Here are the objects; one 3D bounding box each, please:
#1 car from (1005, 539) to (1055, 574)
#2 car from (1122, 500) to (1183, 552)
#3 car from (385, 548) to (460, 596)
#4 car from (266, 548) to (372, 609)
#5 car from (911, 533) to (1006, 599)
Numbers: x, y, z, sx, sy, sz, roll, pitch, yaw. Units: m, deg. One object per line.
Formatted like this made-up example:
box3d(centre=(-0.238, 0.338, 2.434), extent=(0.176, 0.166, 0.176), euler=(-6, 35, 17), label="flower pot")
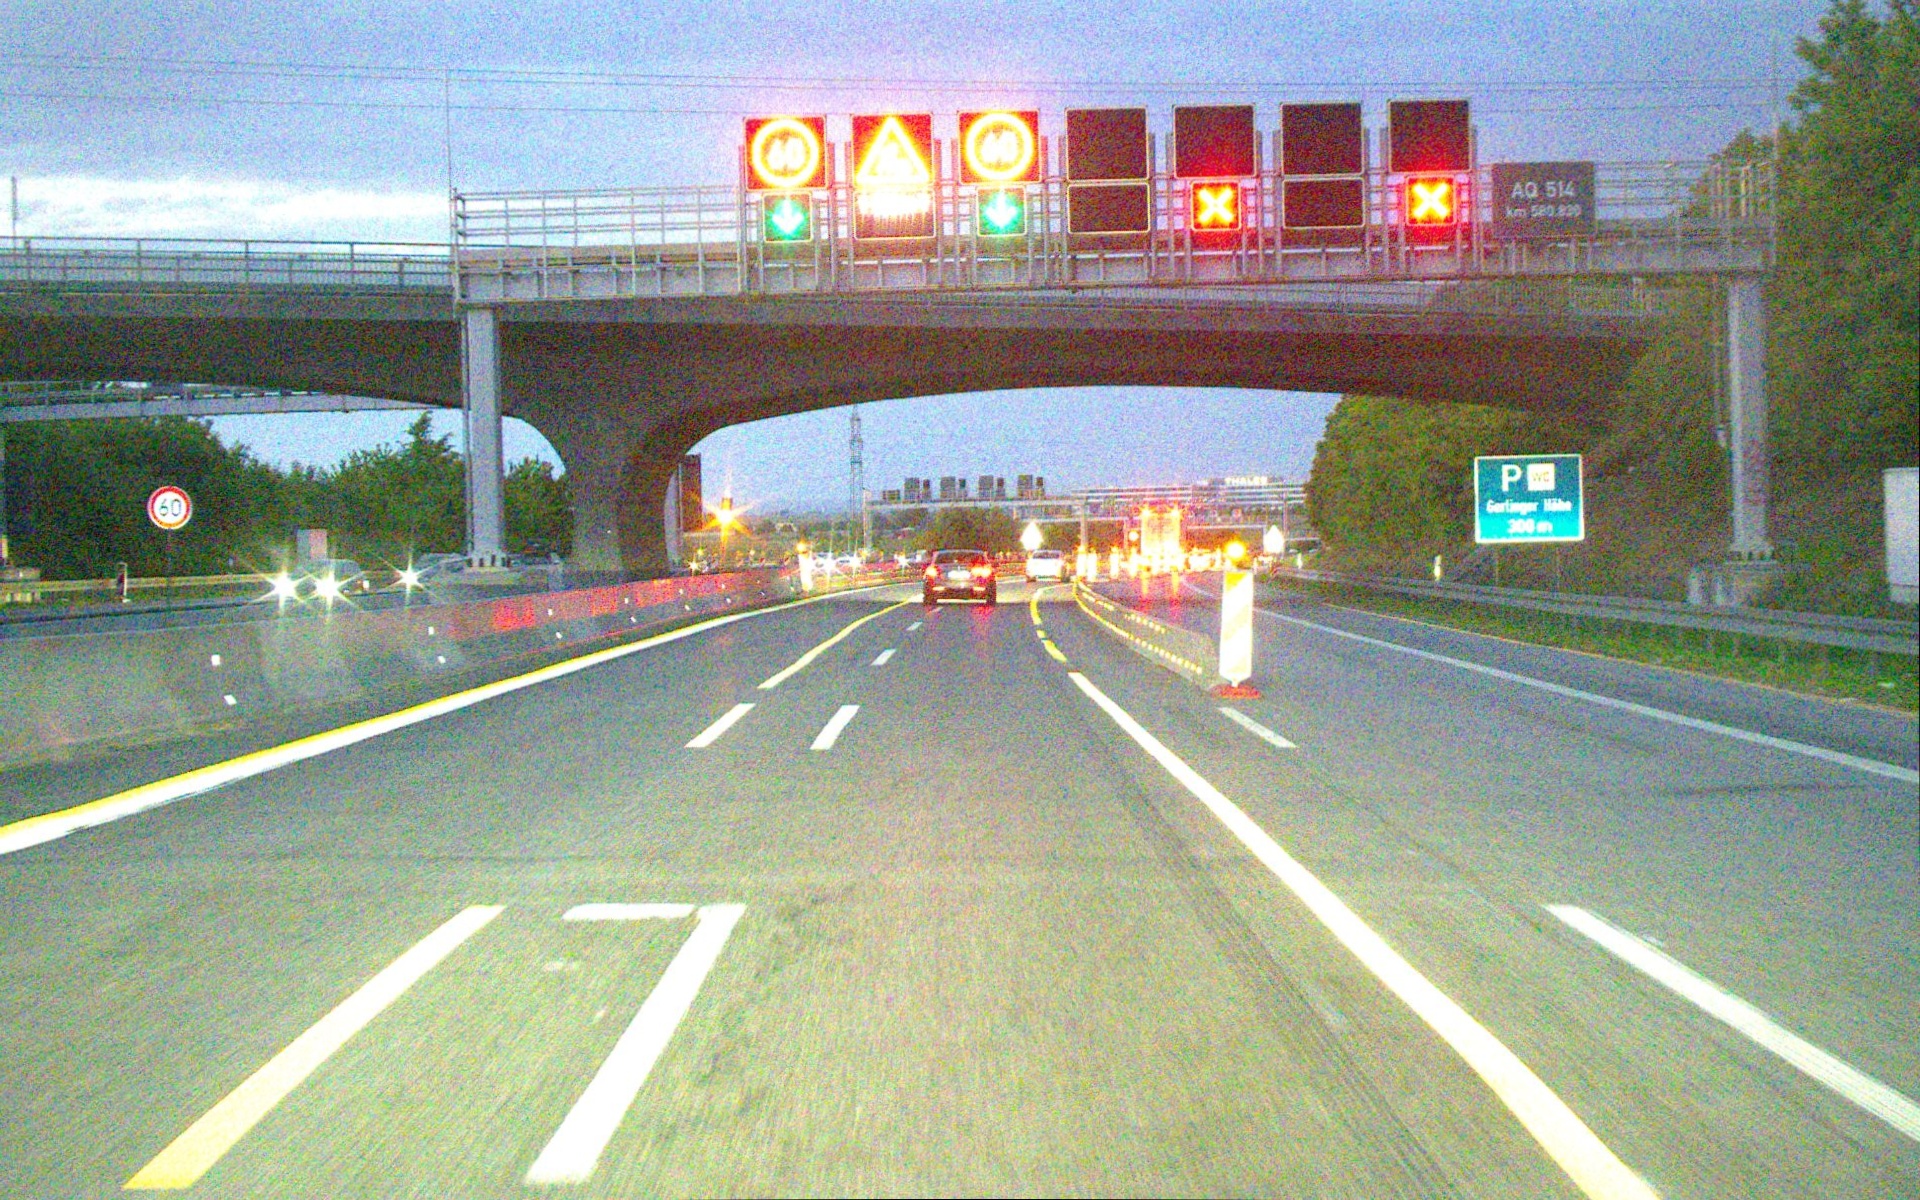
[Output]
box3d(centre=(3.060, -1.887, 149.511), extent=(1.972, 1.432, 4.000), euler=(1, 1, 3), label="car")
box3d(centre=(13.064, -4.993, 234.079), extent=(3.605, 3.384, 8.014), euler=(1, 1, -1), label="car")
box3d(centre=(-19.723, -1.041, 126.285), extent=(1.993, 1.668, 4.582), euler=(1, 1, 0), label="car")
box3d(centre=(-18.241, -0.629, 98.032), extent=(1.994, 1.670, 4.515), euler=(1, 1, 2), label="car")
box3d(centre=(-0.057, -0.890, 88.889), extent=(2.265, 1.616, 4.000), euler=(1, 1, -2), label="car")
